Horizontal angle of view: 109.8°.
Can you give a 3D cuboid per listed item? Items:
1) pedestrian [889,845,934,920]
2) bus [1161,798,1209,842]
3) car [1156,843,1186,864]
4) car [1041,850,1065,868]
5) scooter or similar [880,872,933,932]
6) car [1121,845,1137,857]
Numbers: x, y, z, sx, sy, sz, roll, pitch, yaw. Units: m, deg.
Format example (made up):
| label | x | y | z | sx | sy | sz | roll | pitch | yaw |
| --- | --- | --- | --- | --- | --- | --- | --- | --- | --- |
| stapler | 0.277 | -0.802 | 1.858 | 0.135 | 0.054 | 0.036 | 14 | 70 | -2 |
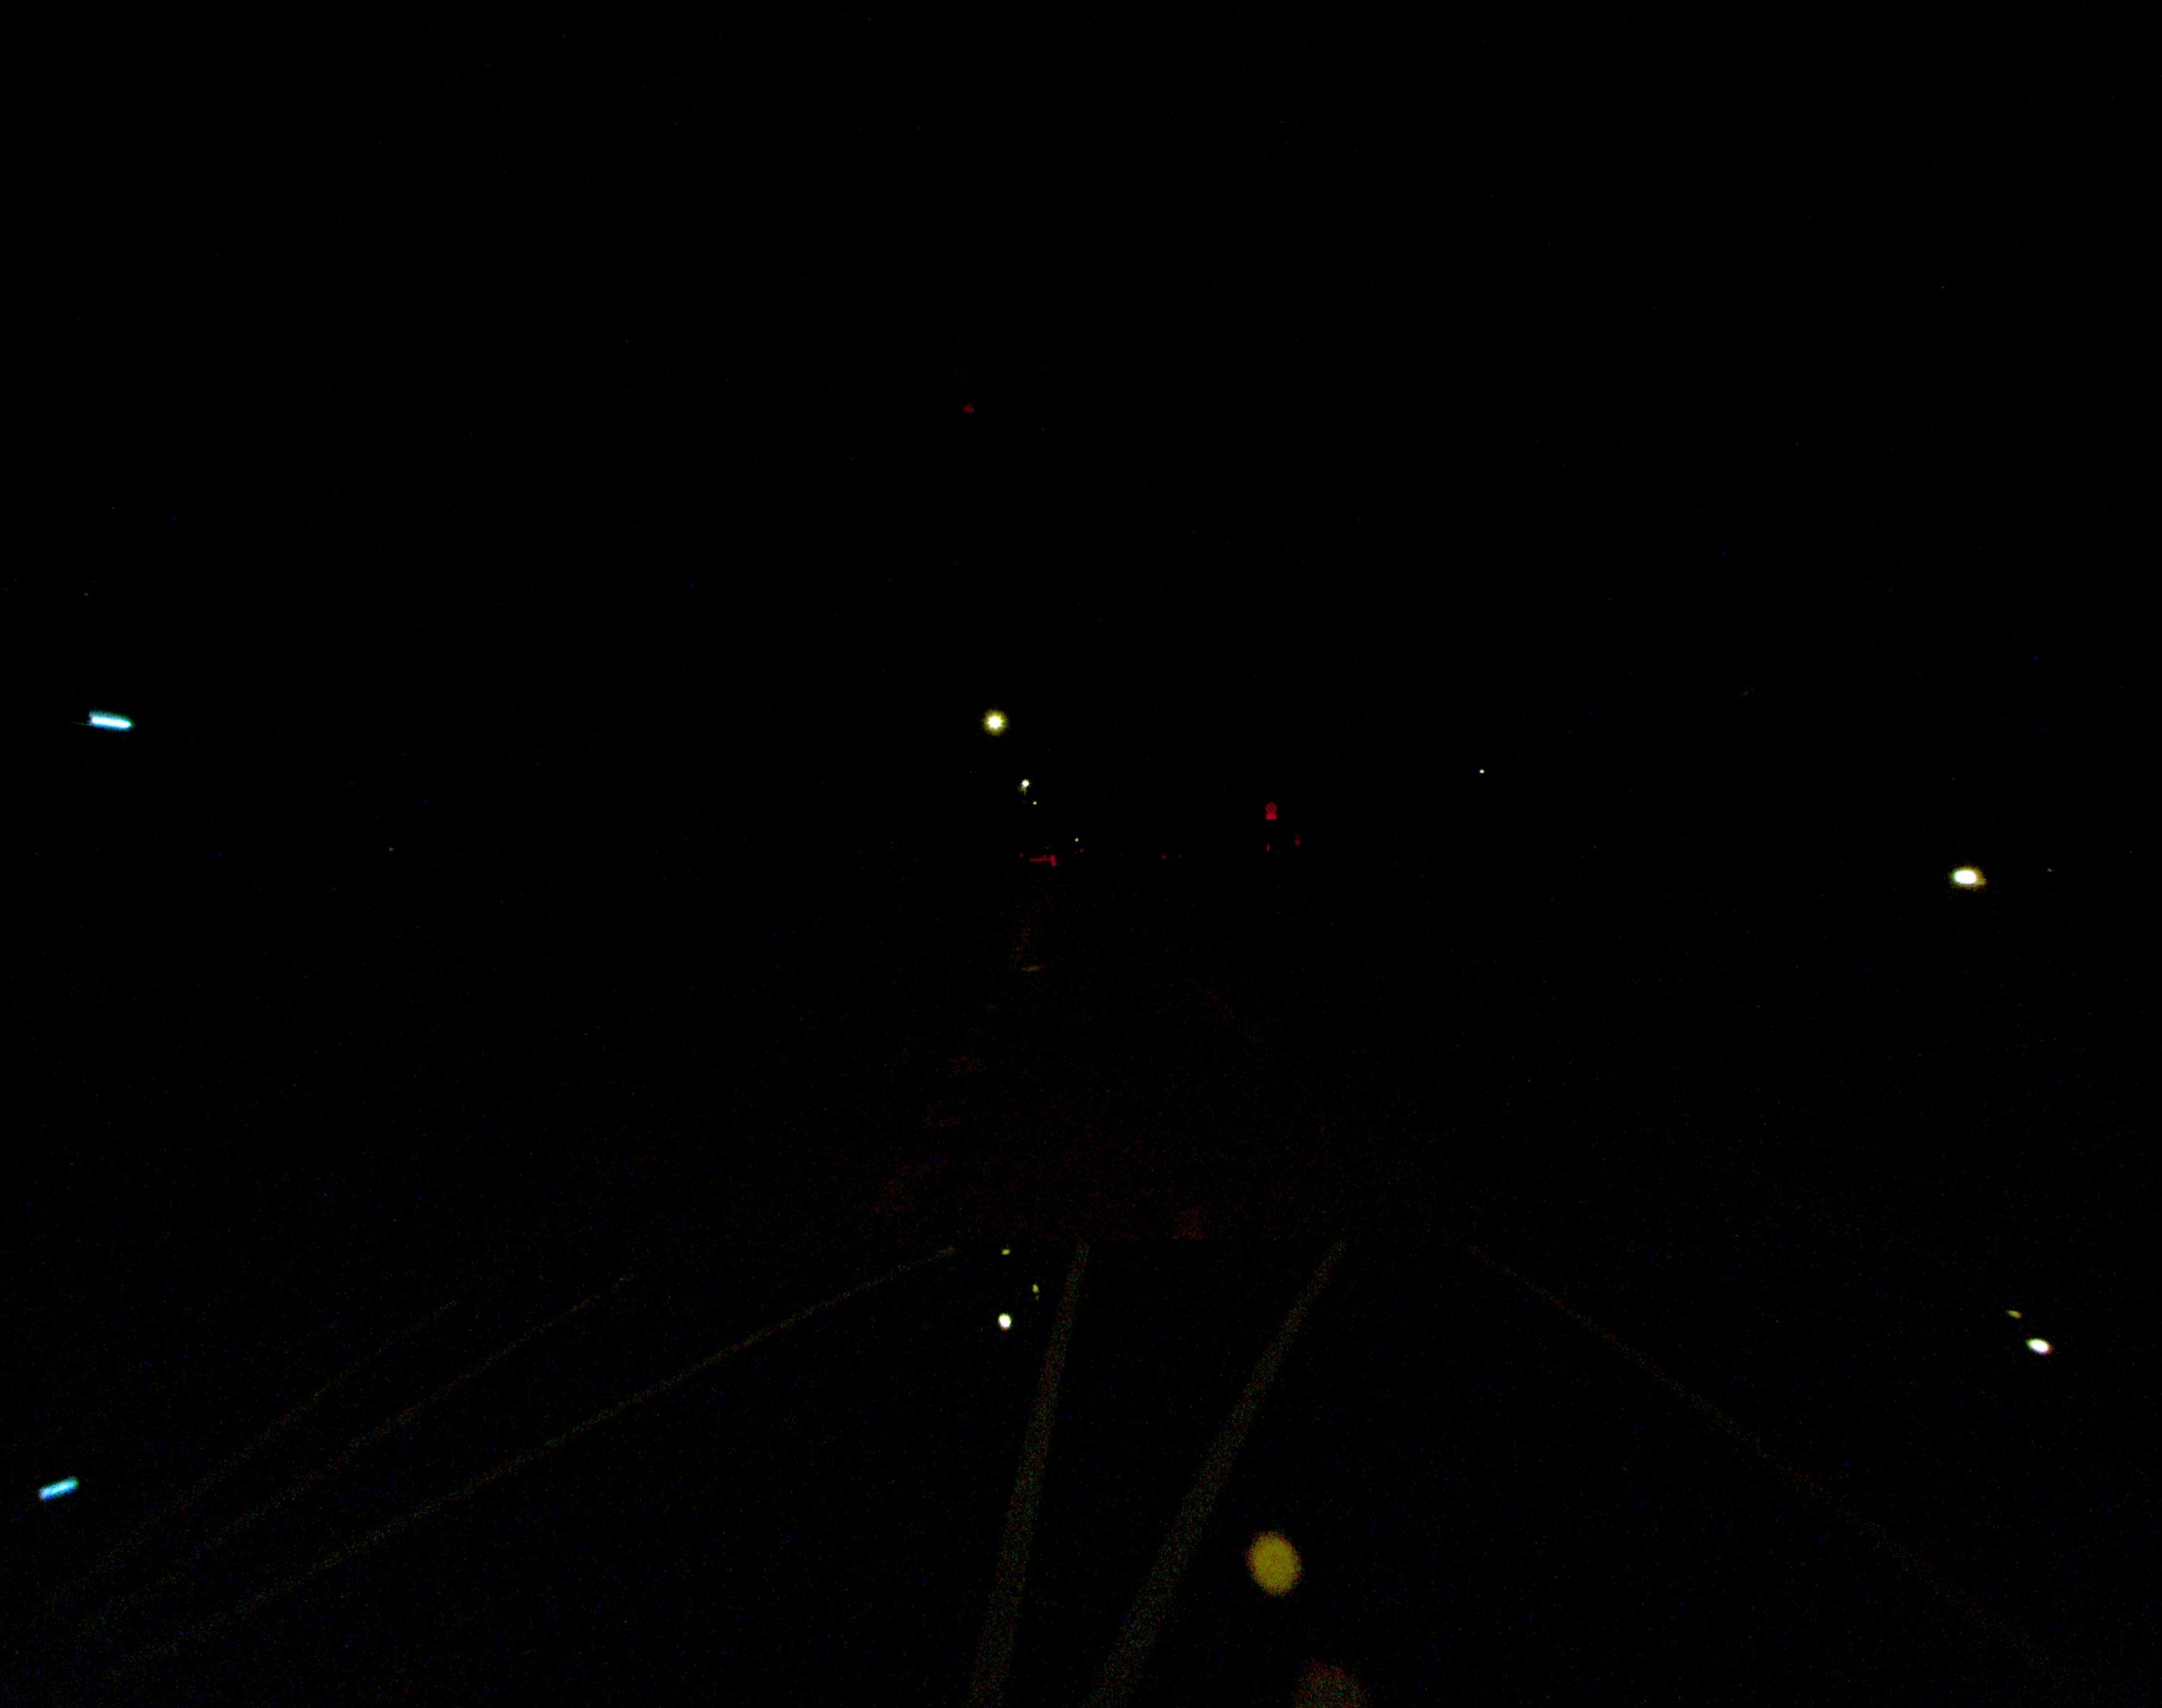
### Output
| label | x | y | z | sx | sy | sz | roll | pitch | yaw |
| --- | --- | --- | --- | --- | --- | --- | --- | --- | --- |
| pedestrian | -4.341 | 0.704 | 19.536 | 0.819 | 1.854 | 1.034 | -2 | 1 | 1 |
| bus | 17.497 | -5.570 | 129.274 | 6.135 | 6.898 | 14.781 | -2 | 1 | 1 |
| car | 7.154 | -0.044 | 60.853 | 1.806 | 1.583 | 3.999 | -2 | 1 | -1 |
| car | -2.893 | 0.450 | 78.167 | 1.998 | 1.638 | 4.000 | 1 | 2 | 4 |
| scooter or similar | -3.669 | 0.995 | 16.073 | 0.468 | 1.195 | 1.137 | -2 | 0 | 24 |
| car | 6.270 | -0.422 | 100.486 | 1.863 | 1.484 | 4.080 | -2 | 1 | 1 |
